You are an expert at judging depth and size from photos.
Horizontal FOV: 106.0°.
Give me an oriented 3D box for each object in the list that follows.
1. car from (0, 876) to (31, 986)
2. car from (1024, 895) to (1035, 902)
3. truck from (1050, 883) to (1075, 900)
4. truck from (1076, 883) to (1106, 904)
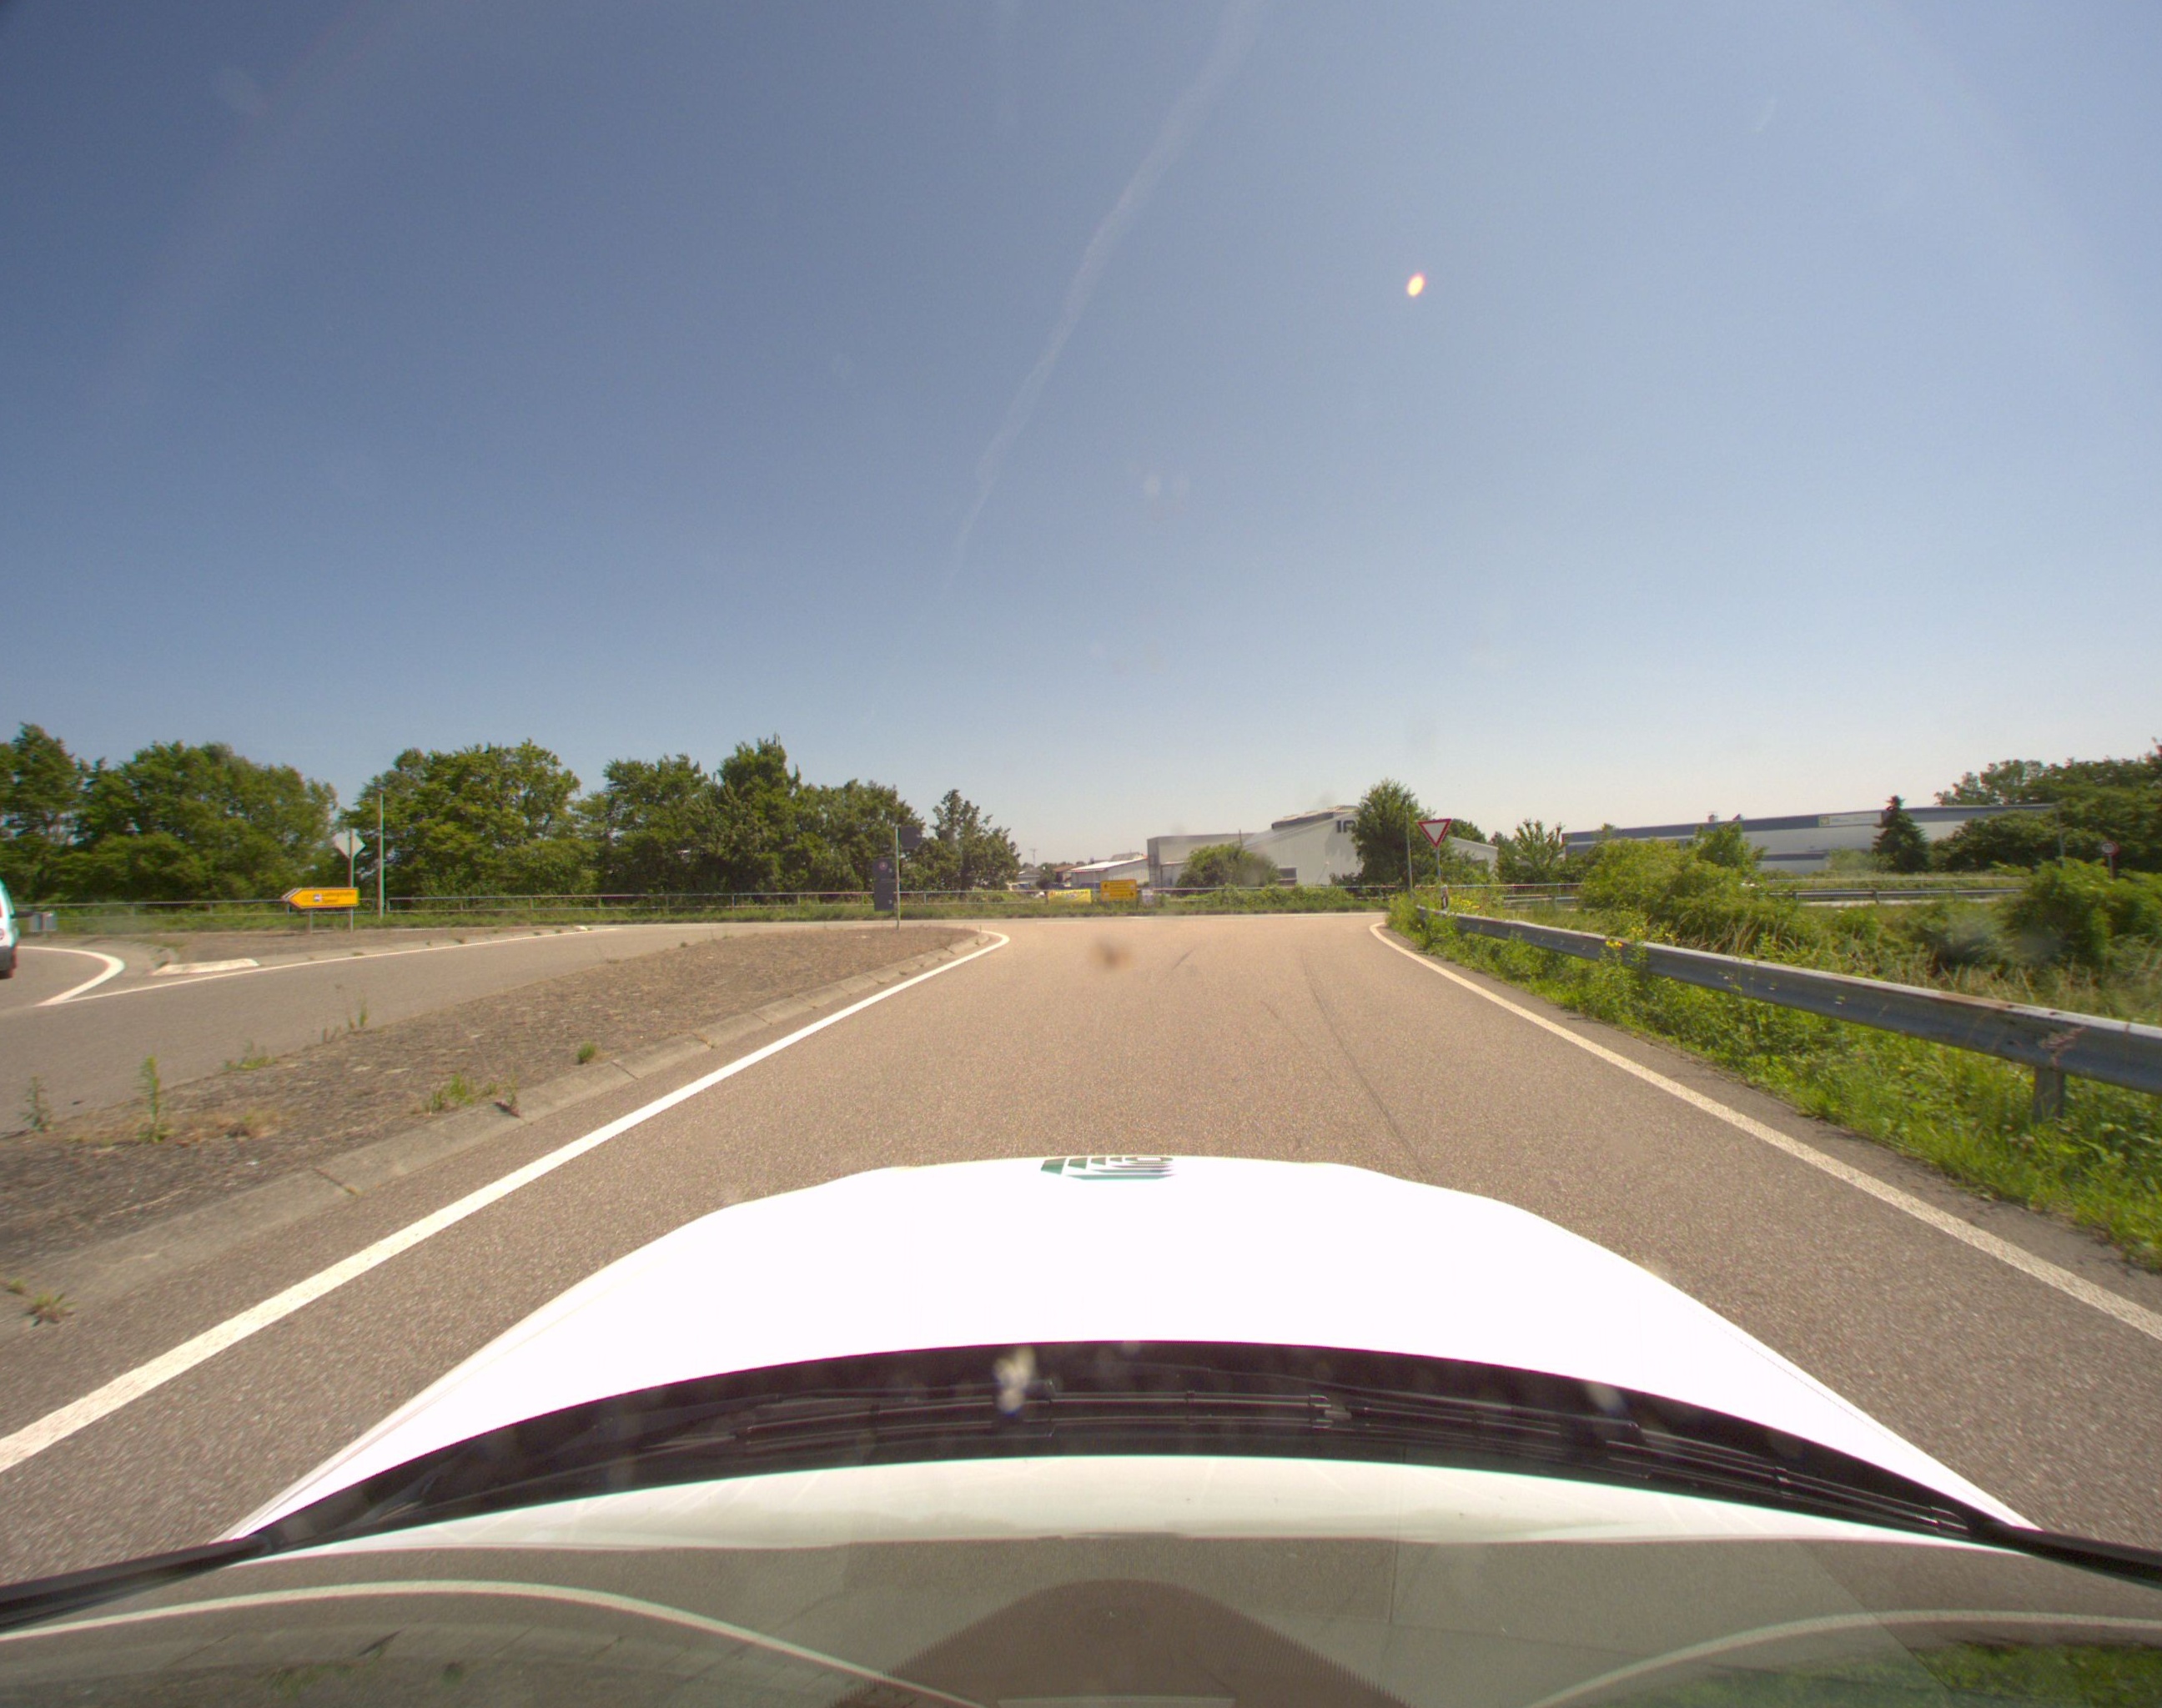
[{"bbox_3d":[-19.489,1.322,13.888,4.030,1.761,1.753,-2,1,40],"label":"car"},{"bbox_3d":[-12.380,10.646,195.483,1.996,1.731,4.838,0,-3,-14],"label":"car"},{"bbox_3d":[-4.927,9.706,211.351,3.415,4.312,14.524,0,-3,-13],"label":"truck"},{"bbox_3d":[2.049,8.565,177.682,3.711,4.312,13.283,-1,-3,-12],"label":"truck"}]
